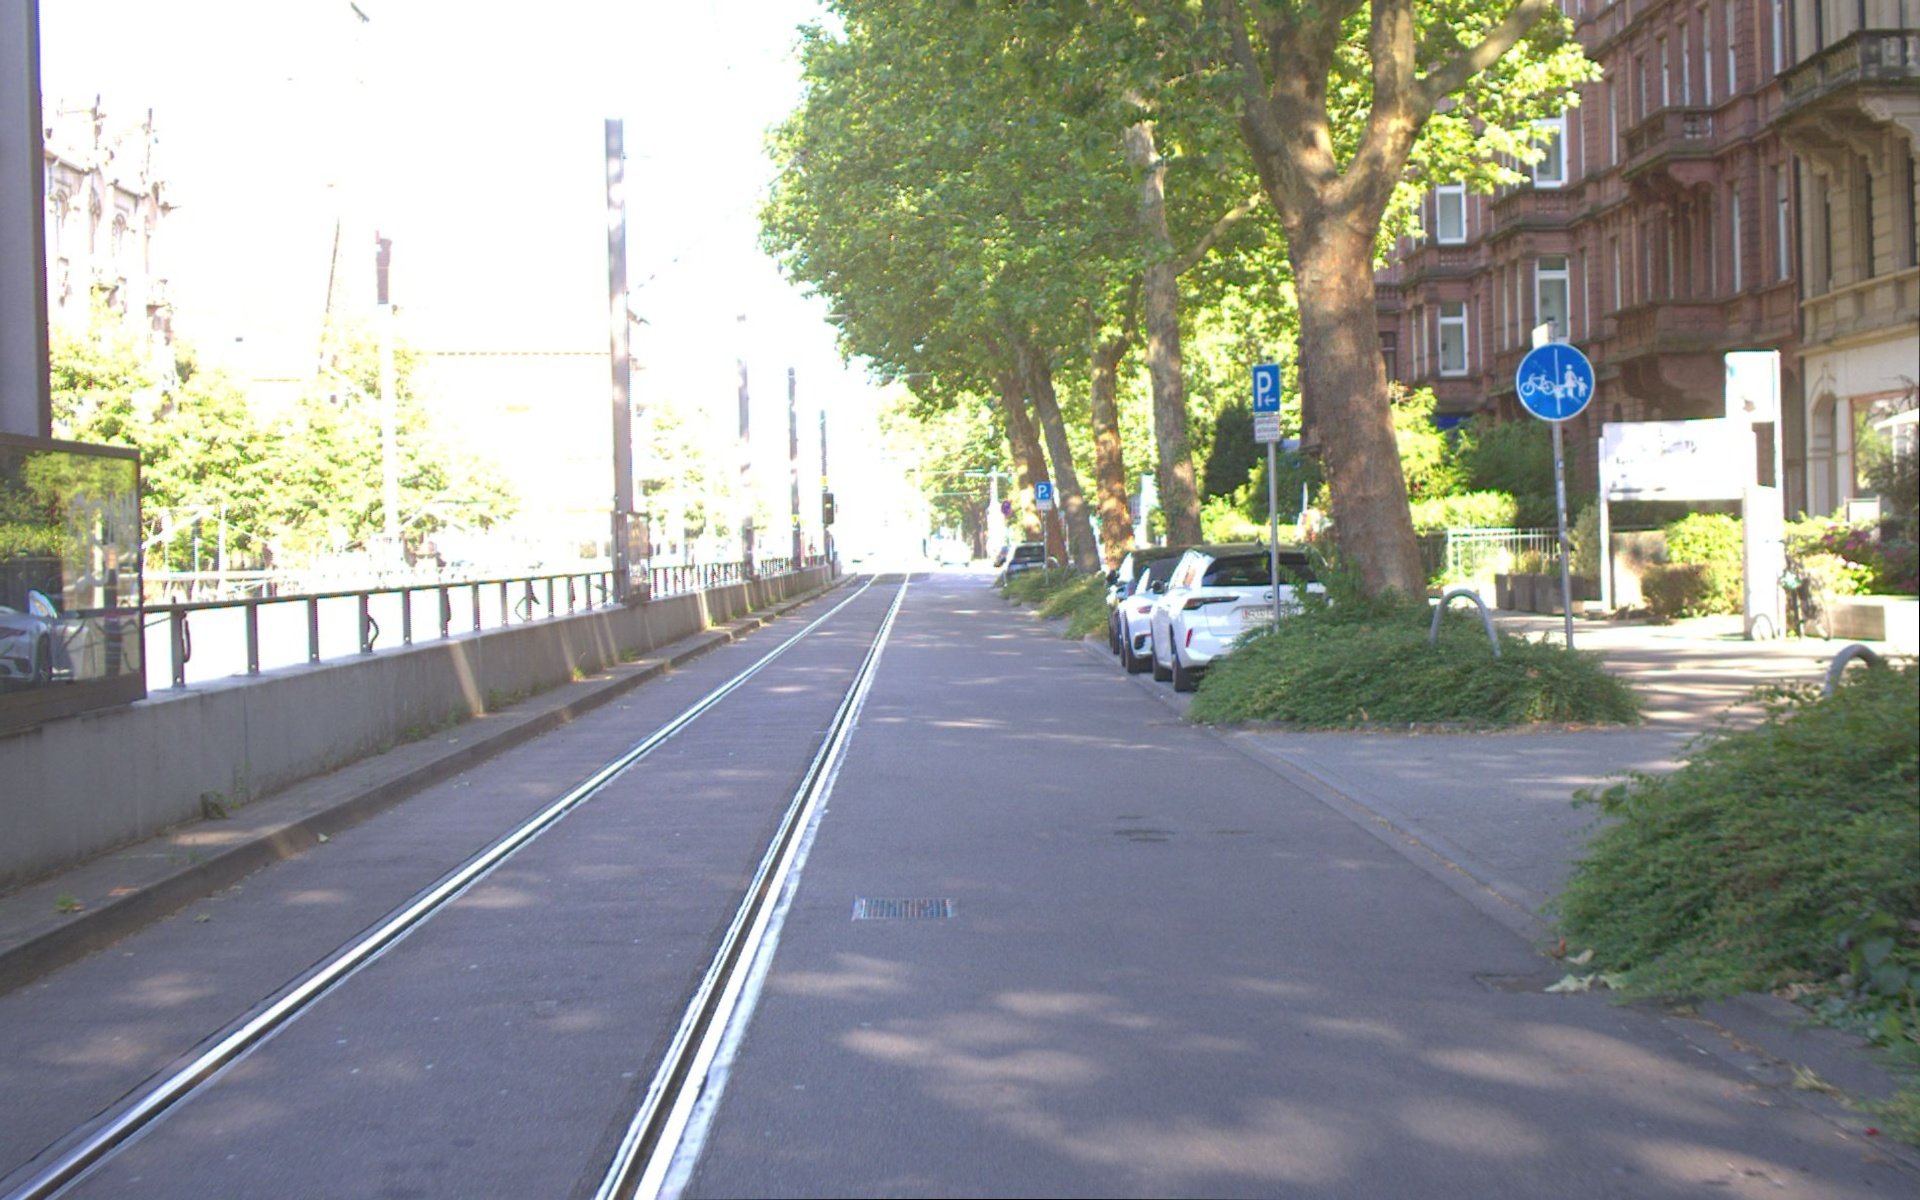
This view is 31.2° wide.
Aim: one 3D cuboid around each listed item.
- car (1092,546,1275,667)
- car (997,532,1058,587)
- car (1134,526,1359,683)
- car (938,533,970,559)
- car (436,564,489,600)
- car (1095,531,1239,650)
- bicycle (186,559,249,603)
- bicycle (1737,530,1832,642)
[{"bbox_3d":[2.577,0.037,40.400,1.830,1.322,4.000,-1,1,0],"label":"car"},{"bbox_3d":[2.038,-1.236,104.894,1.616,1.581,4.417,-2,1,-1],"label":"car"},{"bbox_3d":[2.858,0.004,35.178,1.802,1.472,4.647,-1,1,-1],"label":"car"},{"bbox_3d":[-0.349,-3.174,202.805,1.745,1.457,3.645,1,1,-1],"label":"car"},{"bbox_3d":[-23.361,-0.853,161.460,1.716,1.550,4.510,1,1,1],"label":"car"},{"bbox_3d":[2.808,-0.165,47.383,1.732,1.531,4.805,-1,1,1],"label":"car"},{"bbox_3d":[-22.481,-0.575,104.068,1.731,1.275,0.599,-1,1,6],"label":"bicycle"},{"bbox_3d":[8.807,-0.162,36.777,0.475,1.139,1.896,-3,1,-1],"label":"bicycle"}]
